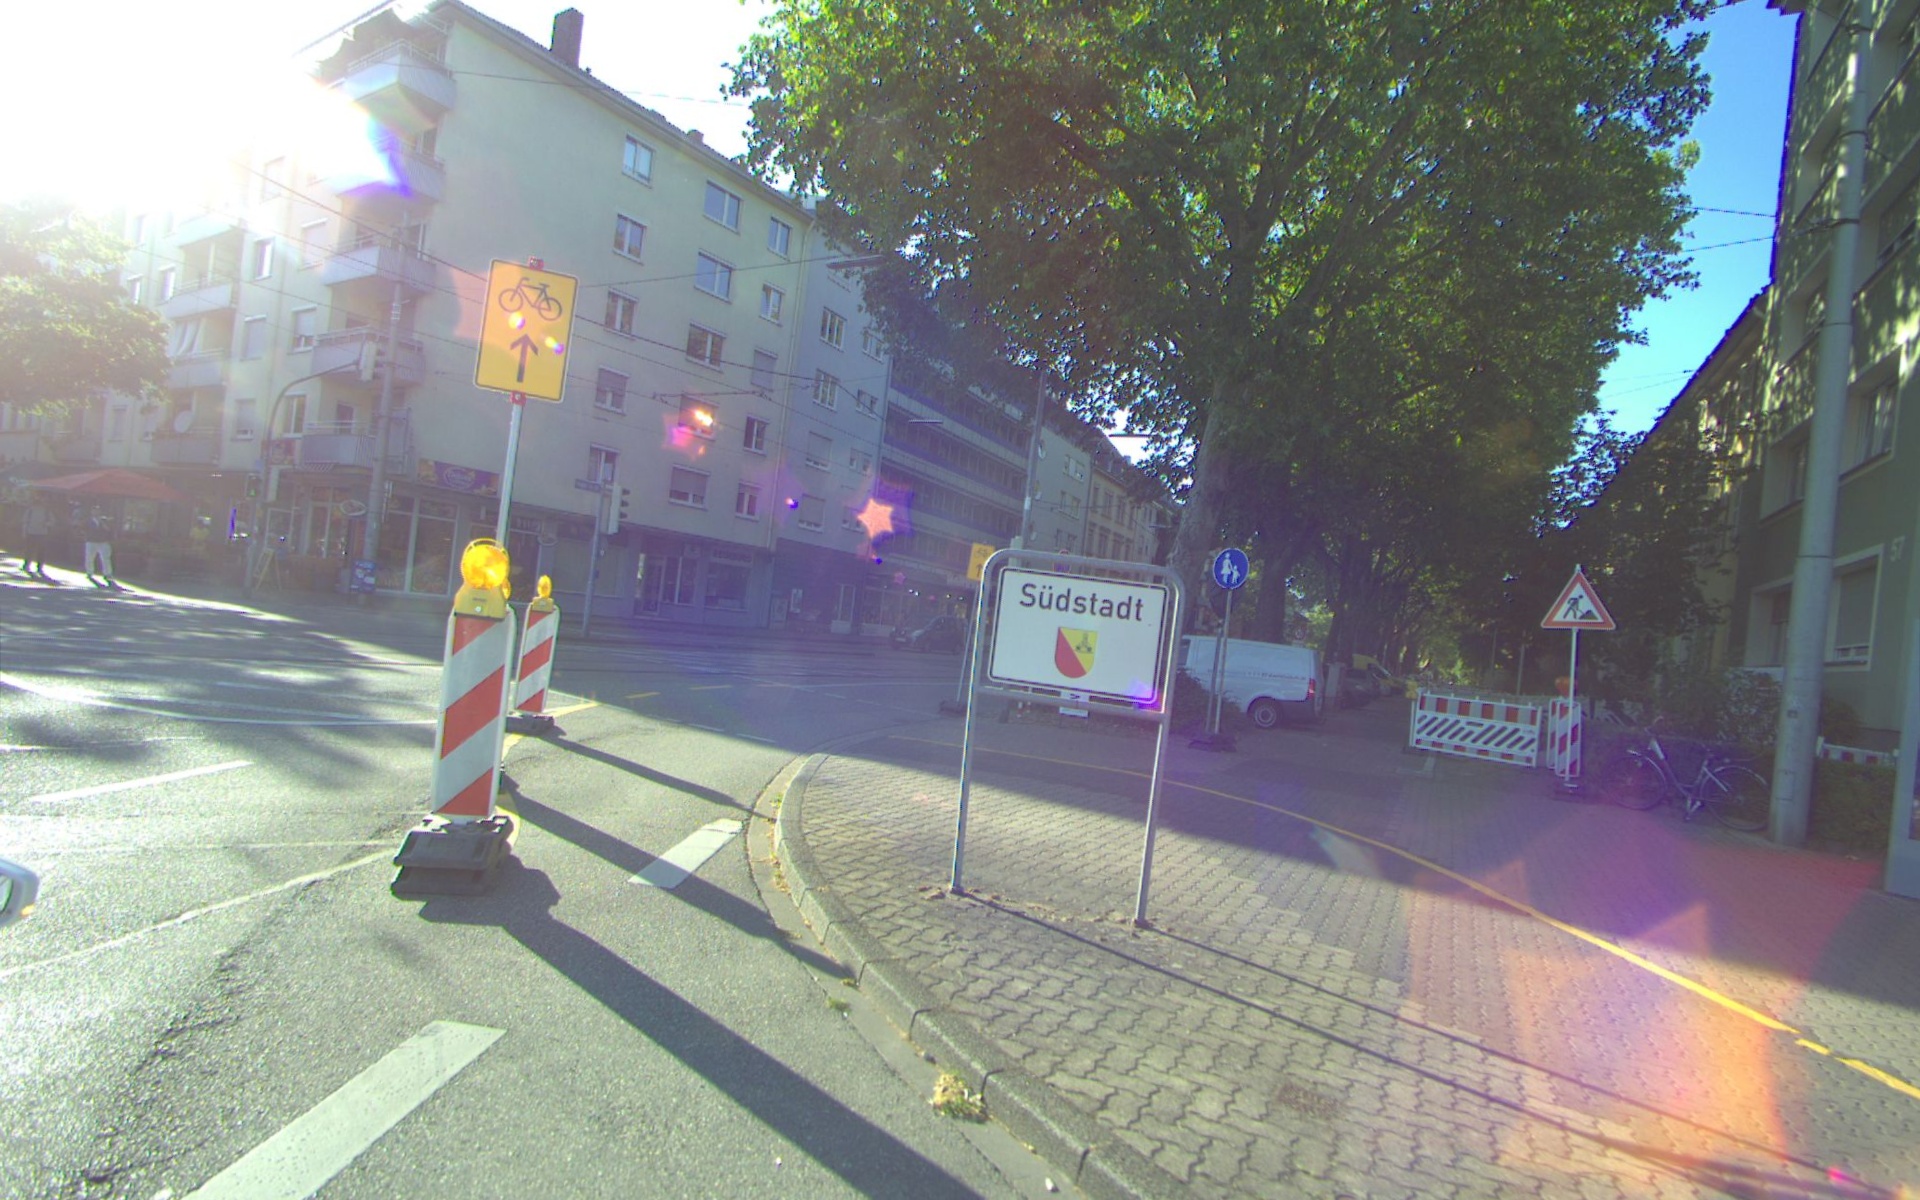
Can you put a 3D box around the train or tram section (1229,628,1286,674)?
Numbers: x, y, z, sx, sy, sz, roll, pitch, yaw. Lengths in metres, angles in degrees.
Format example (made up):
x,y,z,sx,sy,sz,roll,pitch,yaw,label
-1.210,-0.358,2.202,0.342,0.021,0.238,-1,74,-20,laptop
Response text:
x,y,z,sx,sy,sz,roll,pitch,yaw,label
28.288,4.914,95.102,2.819,3.681,13.191,6,-1,26,train or tram section

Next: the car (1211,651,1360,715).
x,y,z,sx,sy,sz,roll,pitch,yaw,label
11.495,2.891,35.555,4.646,1.621,1.918,6,-1,28,car

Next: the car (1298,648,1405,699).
x,y,z,sx,sy,sz,roll,pitch,yaw,label
24.564,4.597,63.202,5.862,2.394,2.058,6,-1,28,car

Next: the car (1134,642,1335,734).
x,y,z,sx,sy,sz,roll,pitch,yaw,label
6.759,2.116,24.834,4.345,1.621,1.940,6,-1,28,car

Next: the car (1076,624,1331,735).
x,y,z,sx,sy,sz,roll,pitch,yaw,label
5.428,1.744,22.550,5.146,1.847,1.930,5,-3,27,car

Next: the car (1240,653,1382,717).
x,y,z,sx,sy,sz,roll,pitch,yaw,label
13.067,3.119,37.479,4.645,1.743,1.918,6,-1,27,car

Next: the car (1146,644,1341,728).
x,y,z,sx,sy,sz,roll,pitch,yaw,label
7.654,2.289,27.231,4.646,1.621,1.918,6,-1,28,car

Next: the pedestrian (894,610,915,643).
x,y,z,sx,sy,sz,roll,pitch,yaw,label
-2.918,1.394,52.813,0.656,1.668,0.622,6,0,42,pedestrian

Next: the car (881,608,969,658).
x,y,z,sx,sy,sz,roll,pitch,yaw,label
-1.507,1.505,44.960,1.882,1.828,4.357,6,-1,28,car

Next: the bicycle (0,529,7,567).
x,y,z,sx,sy,sz,roll,pitch,yaw,label
-25.334,-1.425,25.393,0.553,0.943,1.725,6,-1,35,bicycle

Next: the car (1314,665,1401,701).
x,y,z,sx,sy,sz,roll,pitch,yaw,label
23.967,4.981,60.610,4.643,1.552,1.919,6,-1,26,car

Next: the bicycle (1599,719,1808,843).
x,y,z,sx,sy,sz,roll,pitch,yaw,label
8.604,2.064,11.759,0.513,1.069,1.926,7,-1,-19,bicycle

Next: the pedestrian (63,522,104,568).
x,y,z,sx,sy,sz,roll,pitch,yaw,label
-29.006,-1.830,33.287,0.901,1.379,0.810,6,0,41,pedestrian

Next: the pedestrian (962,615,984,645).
x,y,z,sx,sy,sz,roll,pitch,yaw,label
0.798,1.831,61.675,1.013,1.682,1.228,7,-1,8,pedestrian

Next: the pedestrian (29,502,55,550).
x,y,z,sx,sy,sz,roll,pitch,yaw,label
-40.374,-3.261,44.236,0.503,2.038,0.537,6,0,28,pedestrian

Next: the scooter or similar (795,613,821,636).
x,y,z,sx,sy,sz,roll,pitch,yaw,label
-6.832,1.106,45.296,0.459,0.965,1.431,6,-1,20,scooter or similar

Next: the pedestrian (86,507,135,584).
x,y,z,sx,sy,sz,roll,pitch,yaw,label
-20.824,-1.342,24.651,0.829,1.771,0.690,6,0,43,pedestrian

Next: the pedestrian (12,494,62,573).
x,y,z,sx,sy,sz,roll,pitch,yaw,label
-22.136,-1.586,24.147,0.688,1.771,0.786,7,0,-40,pedestrian

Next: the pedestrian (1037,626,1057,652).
x,y,z,sx,sy,sz,roll,pitch,yaw,label
5.876,2.639,67.768,0.879,1.644,1.033,6,0,27,pedestrian

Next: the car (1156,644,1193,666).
x,y,z,sx,sy,sz,roll,pitch,yaw,label
18.008,4.641,84.361,1.866,1.583,4.390,6,-1,26,car

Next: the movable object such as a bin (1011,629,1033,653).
x,y,z,sx,sy,sz,roll,pitch,yaw,label
4.133,2.730,67.416,0.997,1.445,1.144,6,-1,22,movable object such as a bin

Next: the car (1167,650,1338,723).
x,y,z,sx,sy,sz,roll,pitch,yaw,label
8.658,2.519,29.782,4.518,1.524,1.919,6,-1,25,car

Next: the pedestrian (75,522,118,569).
x,y,z,sx,sy,sz,roll,pitch,yaw,label
-27.930,-1.766,32.542,0.901,1.379,0.810,6,0,40,pedestrian

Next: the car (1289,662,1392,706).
x,y,z,sx,sy,sz,roll,pitch,yaw,label
19.214,4.218,50.803,4.643,1.552,1.919,6,-1,25,car

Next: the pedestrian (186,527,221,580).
x,y,z,sx,sy,sz,roll,pitch,yaw,label
-24.299,-1.480,32.324,0.469,1.611,0.619,6,0,19,pedestrian
